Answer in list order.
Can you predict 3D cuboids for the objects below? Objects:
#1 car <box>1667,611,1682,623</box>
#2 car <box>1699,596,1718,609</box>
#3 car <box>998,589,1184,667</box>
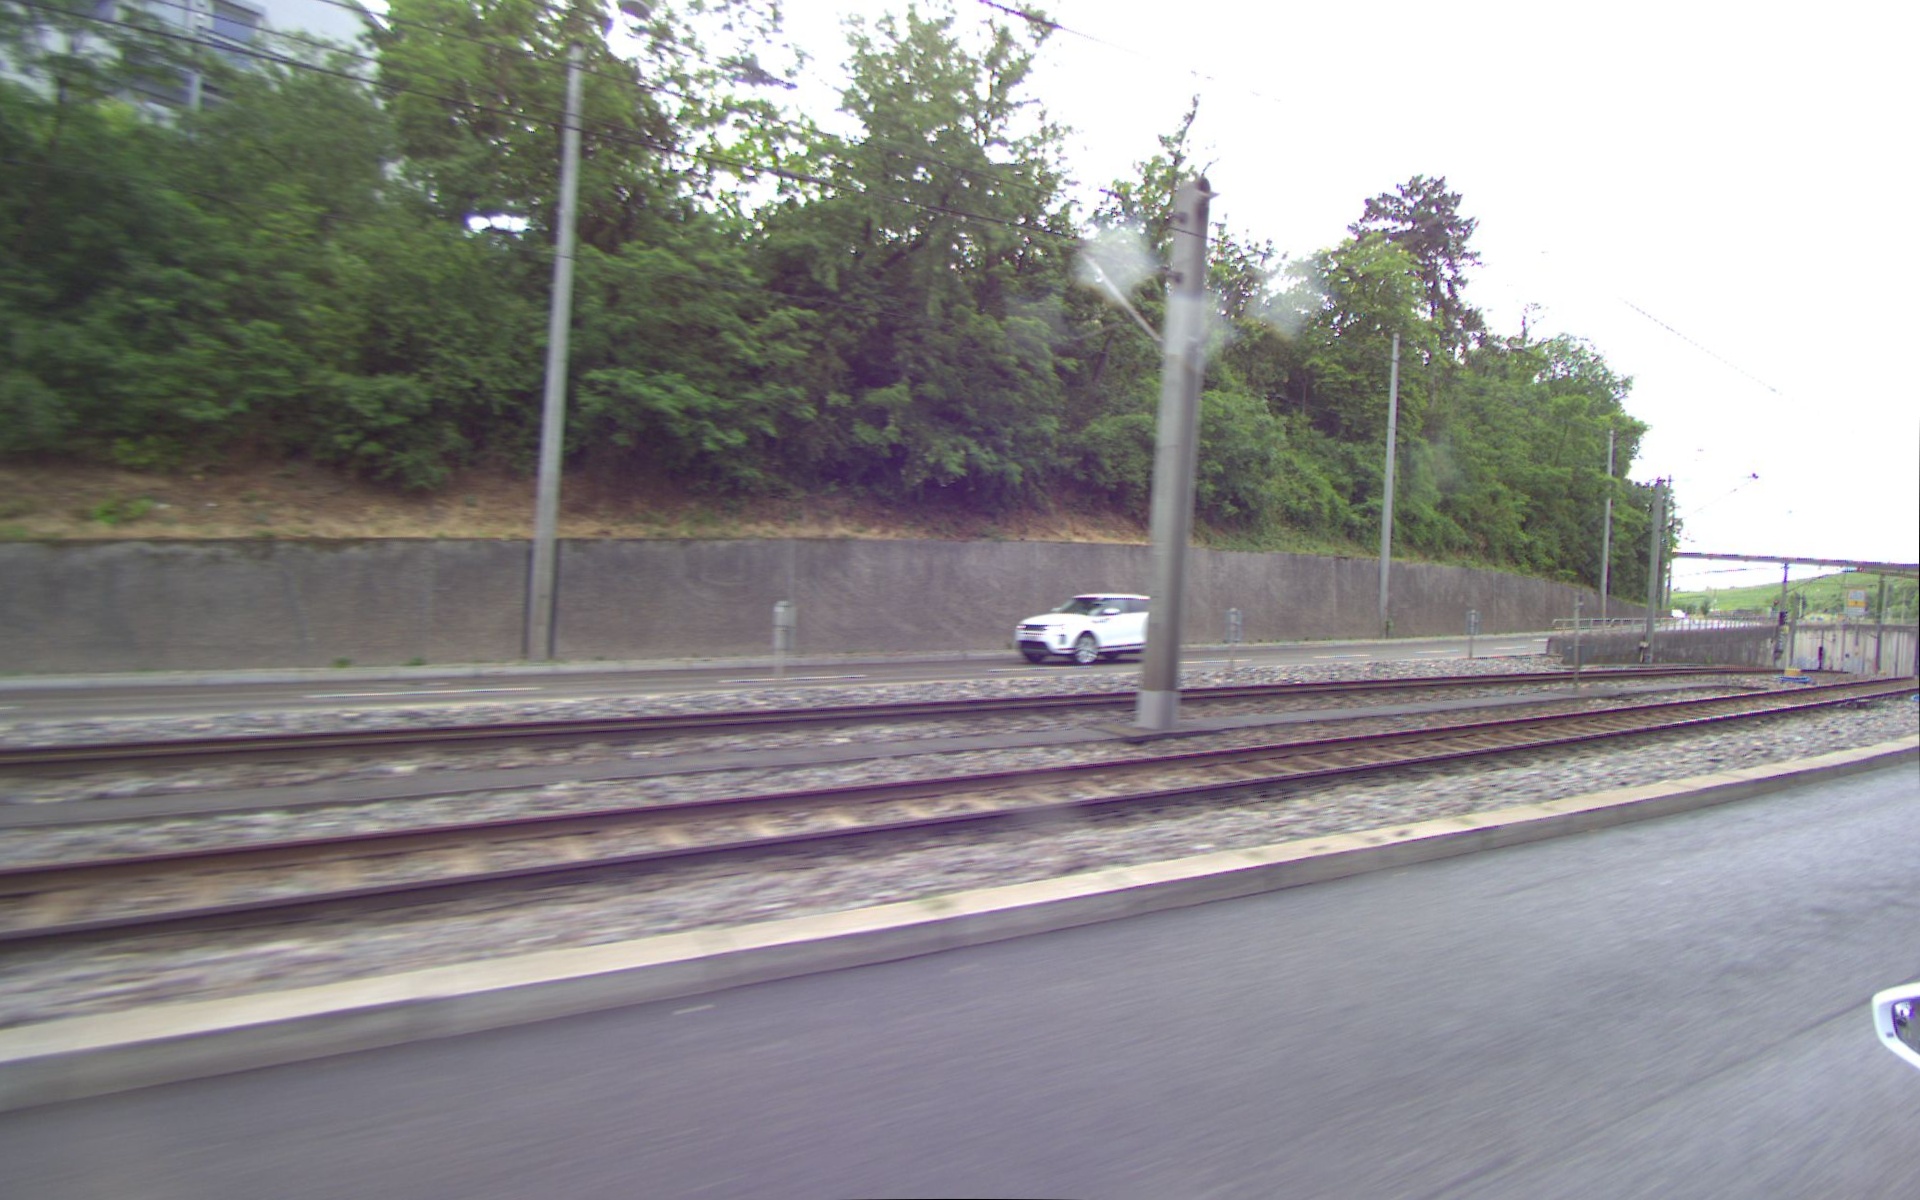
[{"bbox_3d":[106.001,2.497,149.029,1.794,1.726,4.097,1,0,36],"label":"car"},{"bbox_3d":[105.448,0.315,141.558,1.934,1.773,4.129,1,0,34],"label":"car"},{"bbox_3d":[3.204,0.642,24.136,4.369,1.706,1.920,1,0,-38],"label":"car"}]
